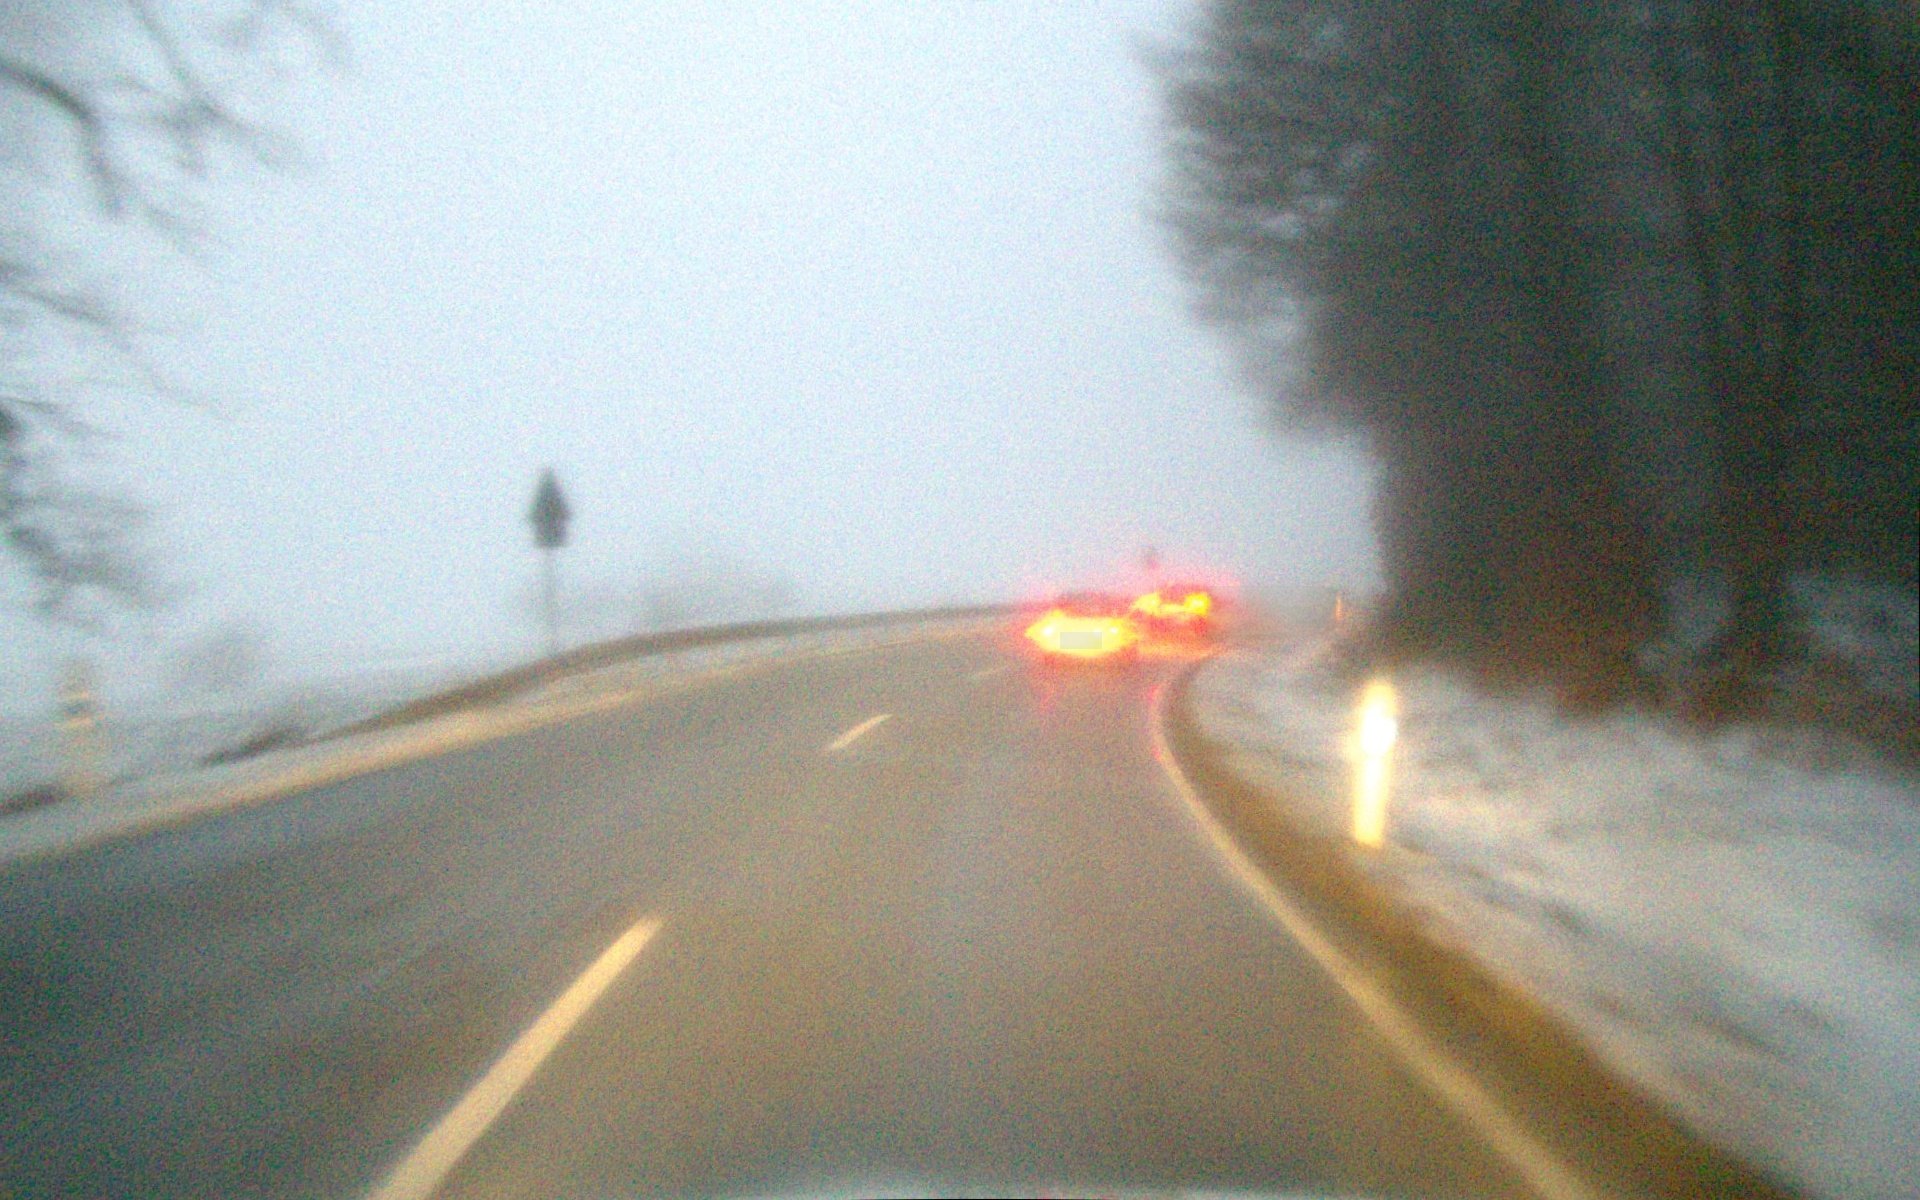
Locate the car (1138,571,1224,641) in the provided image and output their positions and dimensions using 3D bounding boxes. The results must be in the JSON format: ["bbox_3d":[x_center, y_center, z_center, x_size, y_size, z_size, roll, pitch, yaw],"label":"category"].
[{"bbox_3d":[6.086,0.126,45.220,1.951,1.814,4.004,-1,1,13],"label":"car"}]

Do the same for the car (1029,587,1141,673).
[{"bbox_3d":[2.517,0.543,32.441,1.904,1.405,4.004,-2,2,8],"label":"car"}]
